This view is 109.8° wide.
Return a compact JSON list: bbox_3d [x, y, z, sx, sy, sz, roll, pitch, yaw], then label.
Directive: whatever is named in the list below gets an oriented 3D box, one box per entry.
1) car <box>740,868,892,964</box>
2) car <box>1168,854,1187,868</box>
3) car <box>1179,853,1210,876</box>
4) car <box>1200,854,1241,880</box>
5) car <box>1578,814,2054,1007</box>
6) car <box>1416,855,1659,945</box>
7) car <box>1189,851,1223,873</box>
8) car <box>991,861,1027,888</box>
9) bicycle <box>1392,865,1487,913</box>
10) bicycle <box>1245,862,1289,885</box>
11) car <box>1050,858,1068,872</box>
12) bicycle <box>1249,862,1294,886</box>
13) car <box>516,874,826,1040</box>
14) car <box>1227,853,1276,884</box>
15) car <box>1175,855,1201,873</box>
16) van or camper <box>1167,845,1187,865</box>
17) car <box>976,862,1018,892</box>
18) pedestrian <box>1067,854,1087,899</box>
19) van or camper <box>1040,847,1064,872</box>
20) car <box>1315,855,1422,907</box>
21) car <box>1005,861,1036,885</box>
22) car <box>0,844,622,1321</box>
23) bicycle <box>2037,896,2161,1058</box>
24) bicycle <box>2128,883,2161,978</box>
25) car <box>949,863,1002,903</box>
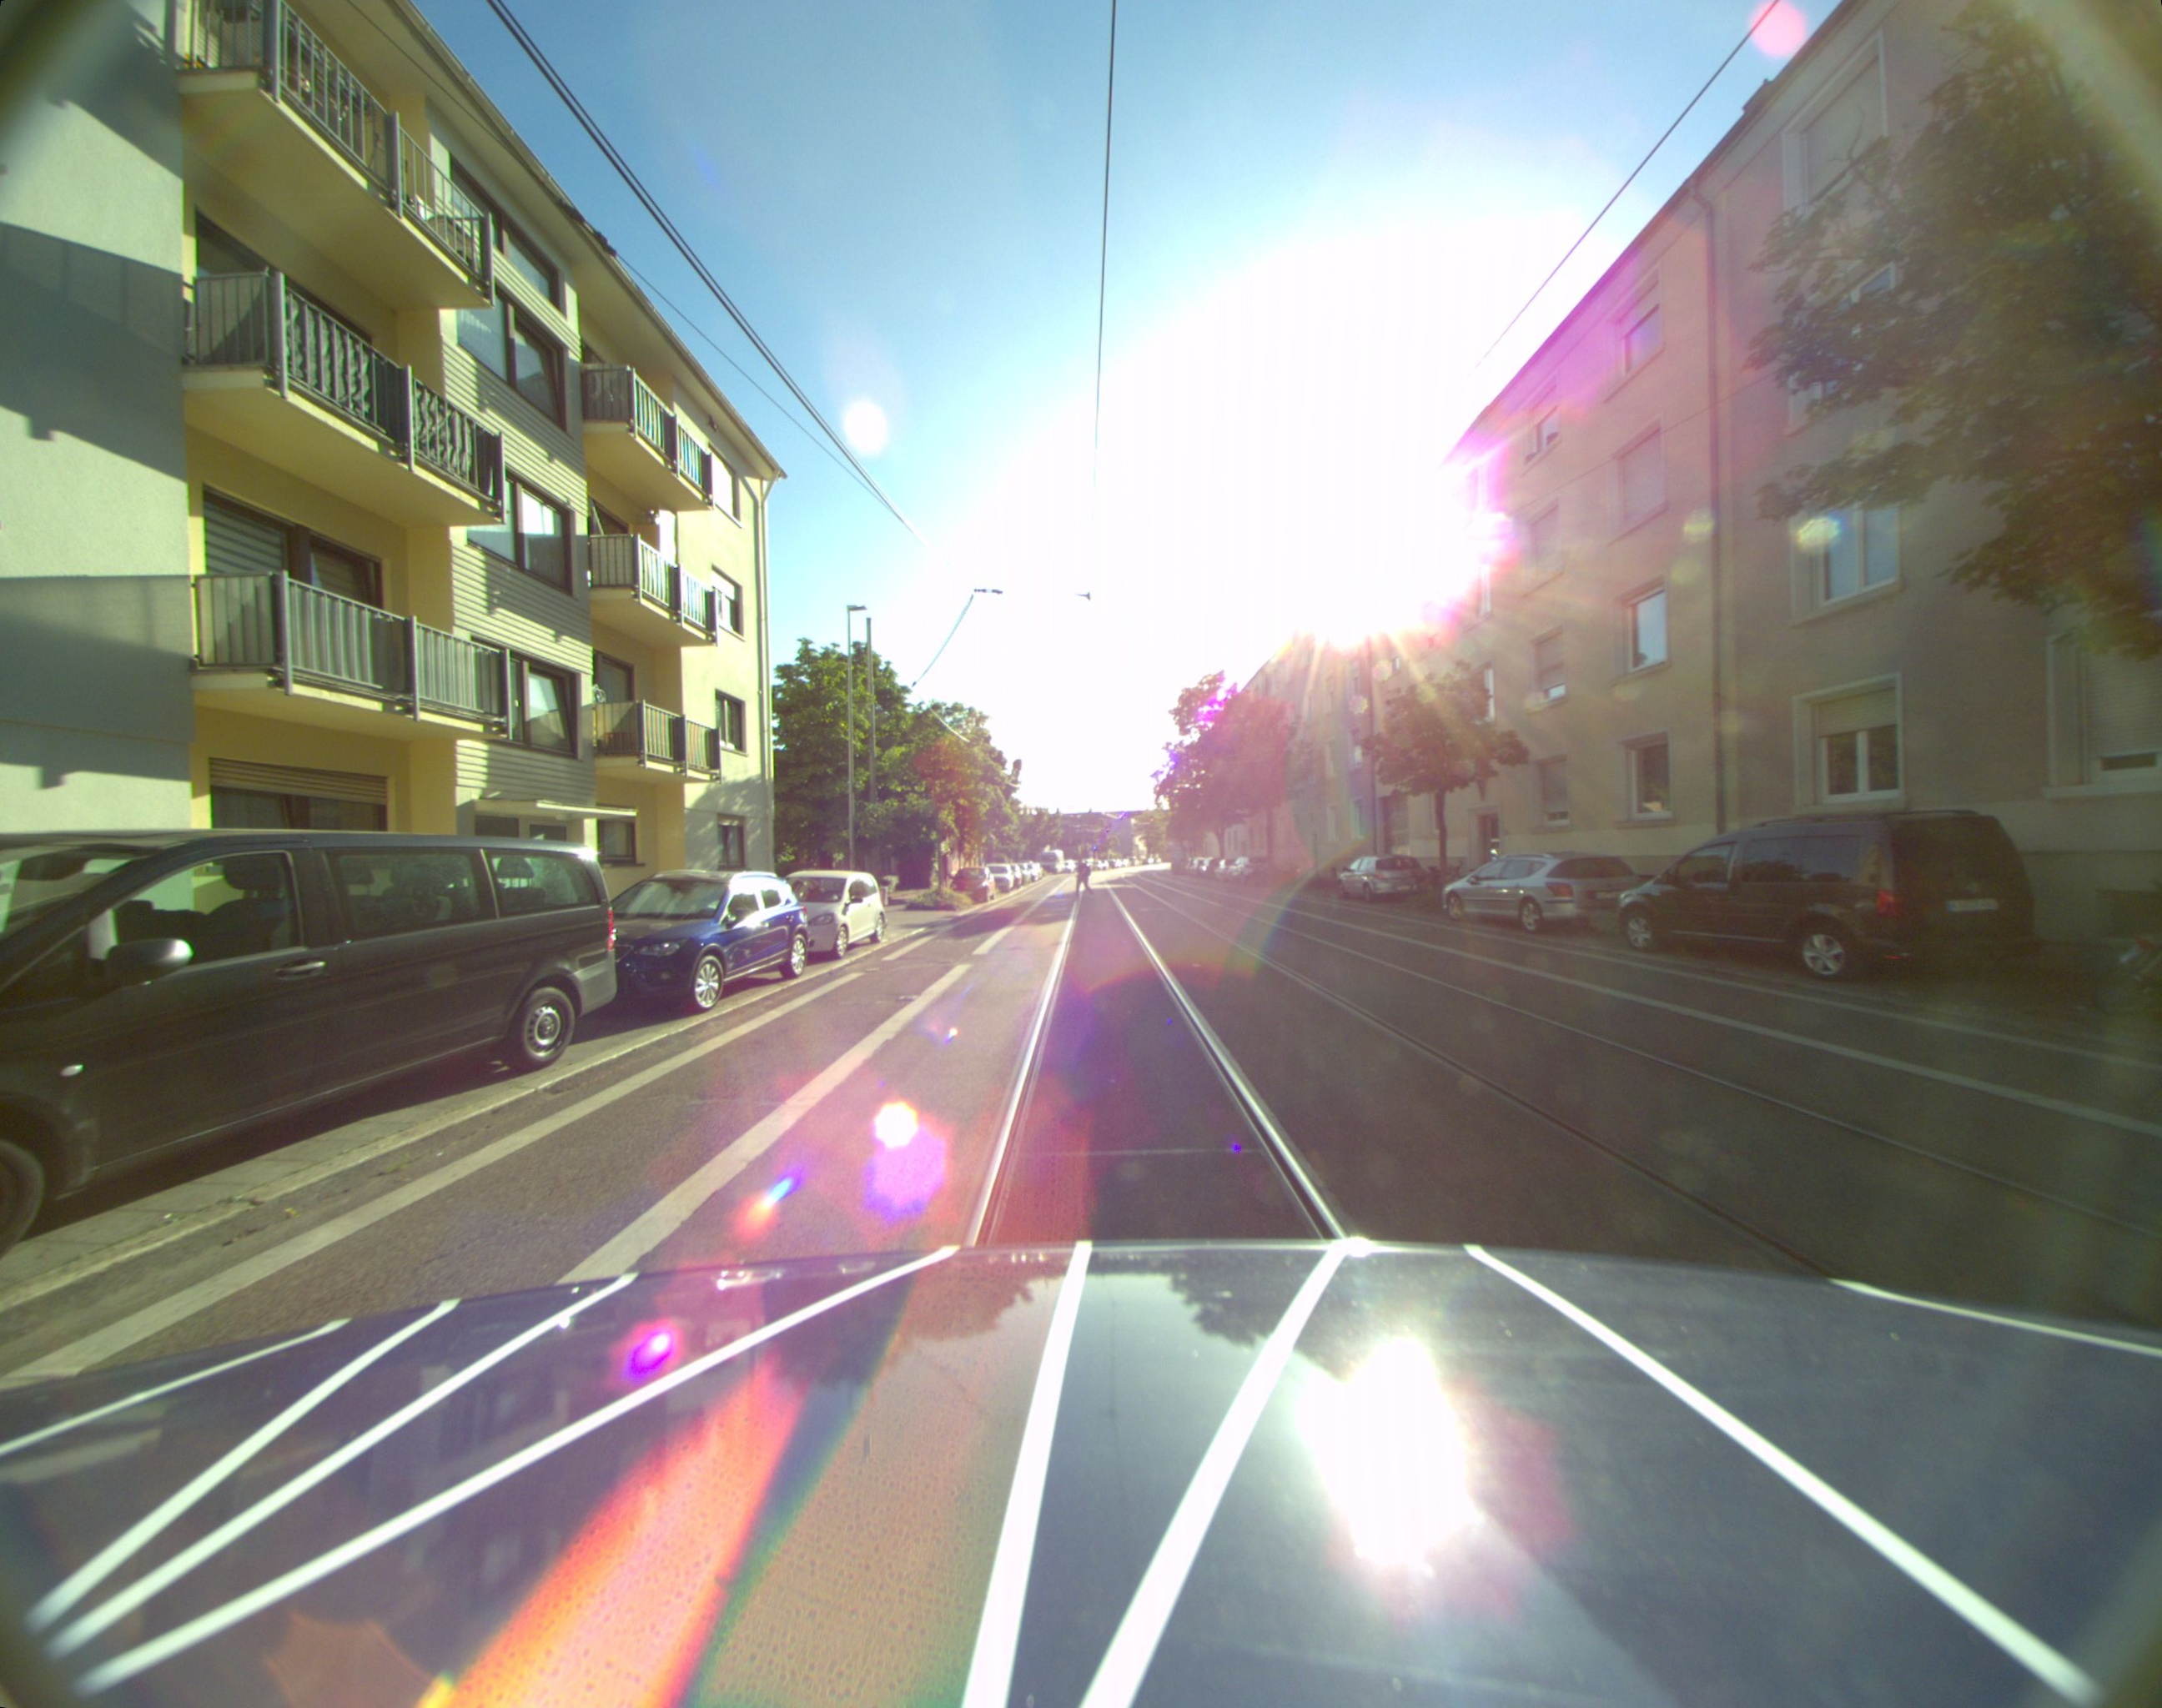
[{"bbox_3d":[-4.844,1.058,14.411,1.557,1.533,3.632,0,0,1],"label":"car"},{"bbox_3d":[10.778,0.785,84.994,1.666,1.535,3.410,-2,0,0],"label":"car"},{"bbox_3d":[9.090,0.842,61.183,1.688,1.776,4.047,-2,0,-2],"label":"car"},{"bbox_3d":[8.882,0.808,48.635,1.688,1.542,4.047,-2,0,-2],"label":"car"},{"bbox_3d":[8.918,0.579,9.925,1.770,1.835,4.423,-4,0,-2],"label":"car"},{"bbox_3d":[8.806,0.786,15.296,1.770,1.464,4.857,-2,0,-3],"label":"car"},{"bbox_3d":[9.297,0.612,56.712,1.688,1.542,4.047,-2,0,-2],"label":"car"},{"bbox_3d":[-4.508,1.244,47.911,1.828,1.561,4.478,0,0,0],"label":"car"},{"bbox_3d":[9.432,0.914,20.029,2.149,1.136,0.659,-3,0,-3],"label":"bicycle"},{"bbox_3d":[9.690,1.022,39.613,2.149,1.136,0.535,-2,0,-3],"label":"bicycle"},{"bbox_3d":[-2.618,1.325,91.194,1.828,1.561,4.266,0,0,3],"label":"car"},{"bbox_3d":[9.730,1.004,38.827,2.149,1.136,0.530,-2,0,-3],"label":"bicycle"},{"bbox_3d":[-4.839,1.089,9.756,1.612,1.561,4.219,0,0,1],"label":"car"},{"bbox_3d":[9.562,0.800,42.906,1.688,1.614,4.047,-2,0,-2],"label":"car"},{"bbox_3d":[9.834,0.881,70.150,1.688,1.542,3.950,-2,0,-2],"label":"car"},{"bbox_3d":[12.432,0.117,98.663,2.074,2.399,5.500,-2,0,3],"label":"van or camper"},{"bbox_3d":[-4.621,1.243,42.519,1.828,1.561,4.478,0,0,0],"label":"car"},{"bbox_3d":[-0.159,0.895,30.482,0.801,1.800,0.946,0,0,1],"label":"pedestrian"},{"bbox_3d":[-3.184,0.579,83.858,2.090,2.548,5.694,-2,0,3],"label":"van or camper"},{"bbox_3d":[9.100,0.788,24.487,1.769,1.464,4.752,-2,0,2],"label":"car"},{"bbox_3d":[-4.213,1.300,53.566,1.828,1.561,4.478,0,0,0],"label":"car"},{"bbox_3d":[-5.248,0.918,4.454,1.934,1.910,5.004,0,0,2],"label":"car"},{"bbox_3d":[9.108,0.905,6.014,2.117,1.099,0.746,-4,0,-1],"label":"bicycle"},{"bbox_3d":[11.386,0.790,7.311,0.485,0.958,1.506,-2,0,-4],"label":"bicycle"},{"bbox_3d":[-4.526,1.203,33.123,1.612,1.561,4.478,0,0,1],"label":"car"}]
